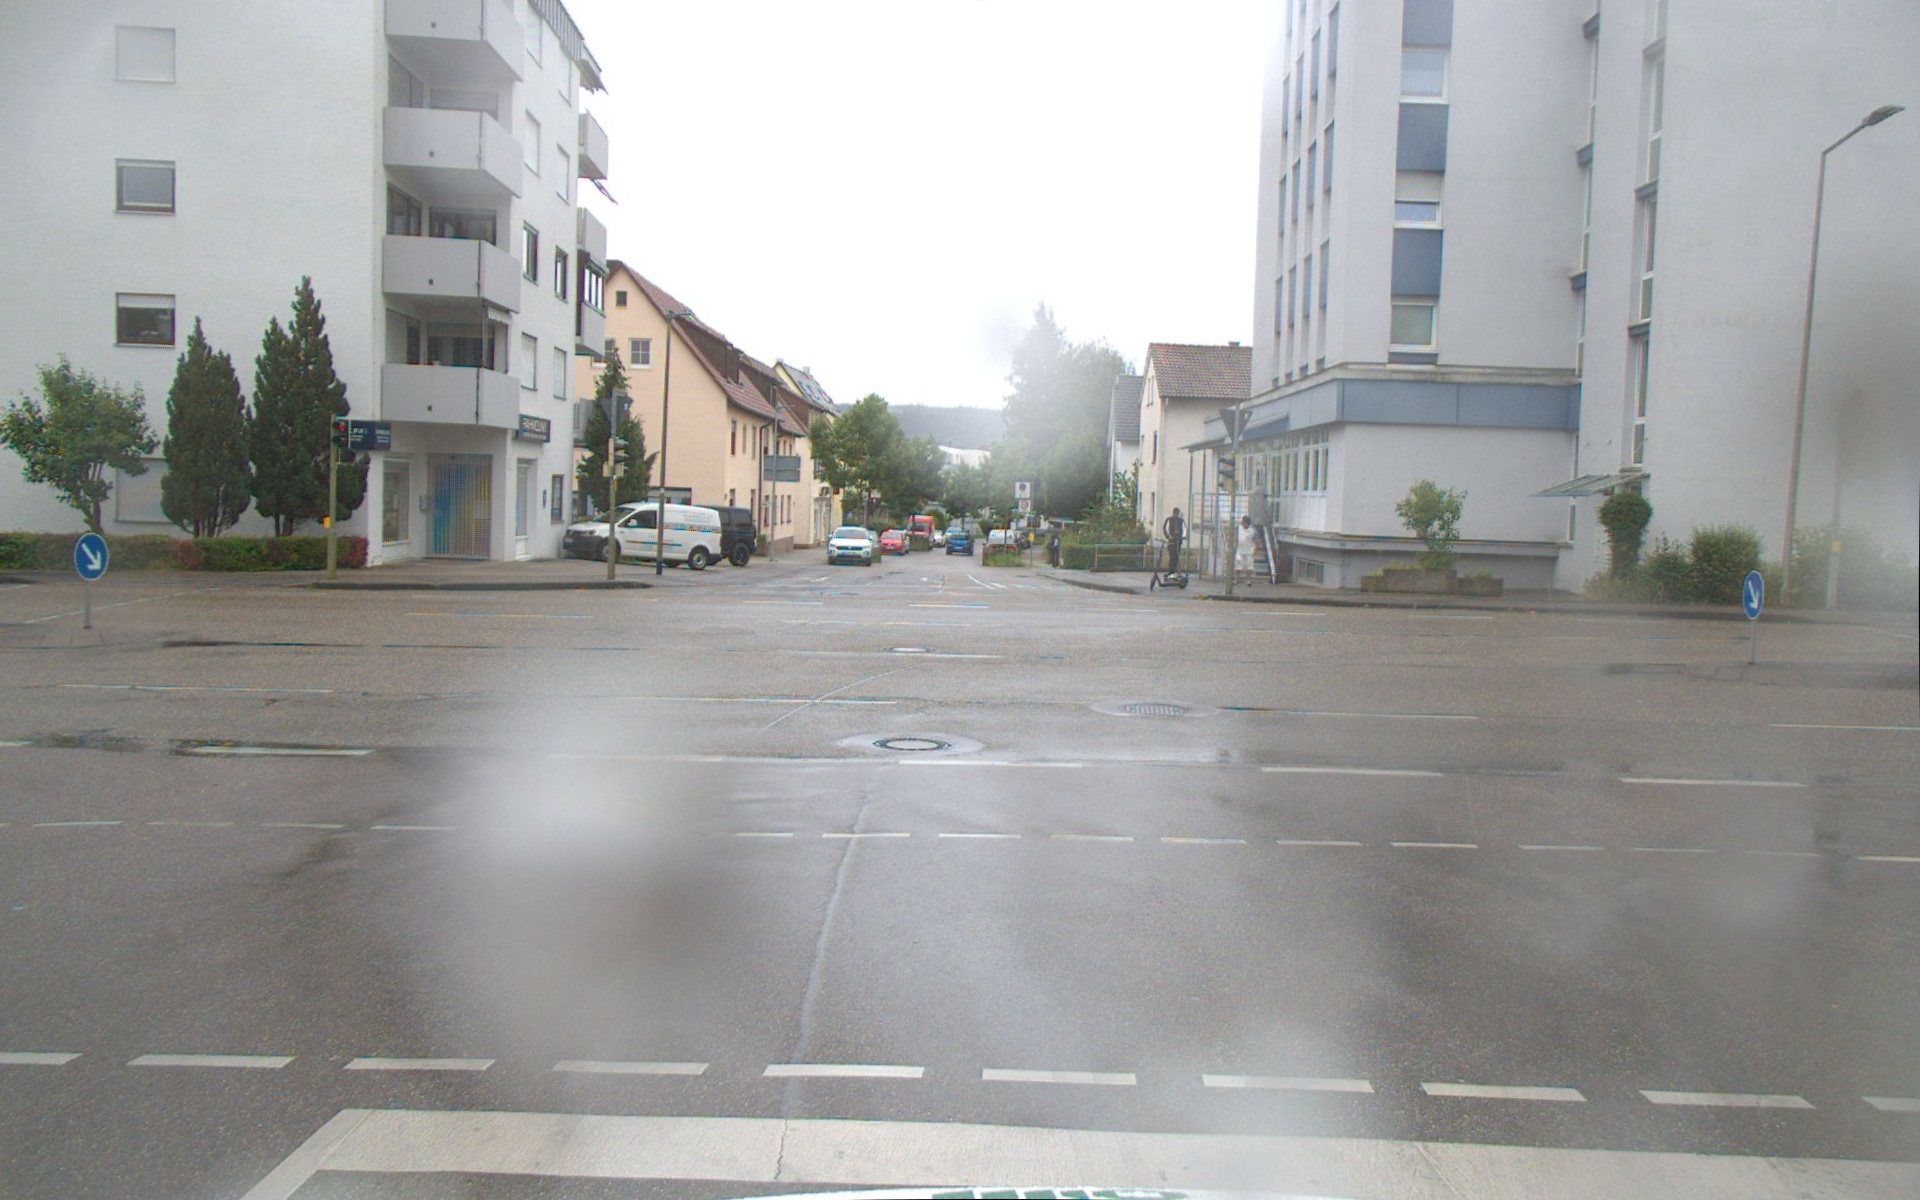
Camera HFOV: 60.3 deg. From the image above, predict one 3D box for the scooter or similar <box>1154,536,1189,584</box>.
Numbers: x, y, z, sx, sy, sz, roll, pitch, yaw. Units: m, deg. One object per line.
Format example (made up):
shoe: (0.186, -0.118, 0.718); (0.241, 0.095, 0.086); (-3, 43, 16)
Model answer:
scooter or similar: (5.395, -1.032, 42.228); (0.741, 1.192, 1.315); (0, 2, 1)

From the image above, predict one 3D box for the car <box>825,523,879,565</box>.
car: (-4.460, -2.331, 68.870); (1.953, 1.654, 4.192); (0, 2, 0)

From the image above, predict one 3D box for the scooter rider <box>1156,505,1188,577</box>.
scooter rider: (5.389, -1.496, 42.121); (0.736, 1.827, 0.673); (0, 2, 1)

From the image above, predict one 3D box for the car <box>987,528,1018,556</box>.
car: (2.665, -3.668, 104.593); (1.862, 1.775, 4.192); (0, 2, 0)

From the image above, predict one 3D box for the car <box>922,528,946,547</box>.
car: (-2.182, -5.270, 139.570); (1.862, 1.586, 4.192); (0, 2, 0)

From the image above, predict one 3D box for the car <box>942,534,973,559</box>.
car: (-0.172, -3.715, 114.144); (1.953, 1.713, 3.999); (0, 2, -2)

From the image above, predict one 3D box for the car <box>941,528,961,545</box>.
car: (-0.846, -5.969, 155.579); (1.862, 1.586, 4.192); (0, 2, 0)

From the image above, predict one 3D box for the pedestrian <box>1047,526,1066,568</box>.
pedestrian: (4.384, -2.403, 75.357); (0.730, 1.880, 0.526); (4, 1, -1)

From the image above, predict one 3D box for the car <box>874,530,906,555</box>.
car: (-4.420, -3.658, 105.319); (1.862, 1.586, 4.192); (0, 2, 0)

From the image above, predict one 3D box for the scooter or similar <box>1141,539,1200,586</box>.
scooter or similar: (5.050, -0.904, 39.658); (1.243, 1.100, 0.876); (0, 2, -5)

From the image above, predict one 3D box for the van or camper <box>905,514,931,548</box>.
van or camper: (-3.191, -5.280, 127.590); (1.862, 2.557, 4.239); (0, 2, 0)

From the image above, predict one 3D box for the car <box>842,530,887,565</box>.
car: (-4.613, -2.552, 80.271); (1.953, 1.654, 4.192); (0, 2, 0)

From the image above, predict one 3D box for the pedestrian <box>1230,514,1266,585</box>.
pedestrian: (7.082, -1.241, 40.672); (0.635, 1.675, 0.525); (4, 1, -7)

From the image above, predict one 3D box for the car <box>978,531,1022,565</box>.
car: (1.981, -2.588, 82.467); (2.102, 1.616, 4.129); (0, 2, 0)

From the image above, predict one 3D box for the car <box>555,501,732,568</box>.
car: (-9.241, -1.889, 48.478); (4.796, 1.867, 1.972); (-1, 2, -39)

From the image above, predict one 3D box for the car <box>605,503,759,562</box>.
car: (-9.285, -2.239, 55.426); (4.796, 1.867, 1.972); (-1, 2, -39)
